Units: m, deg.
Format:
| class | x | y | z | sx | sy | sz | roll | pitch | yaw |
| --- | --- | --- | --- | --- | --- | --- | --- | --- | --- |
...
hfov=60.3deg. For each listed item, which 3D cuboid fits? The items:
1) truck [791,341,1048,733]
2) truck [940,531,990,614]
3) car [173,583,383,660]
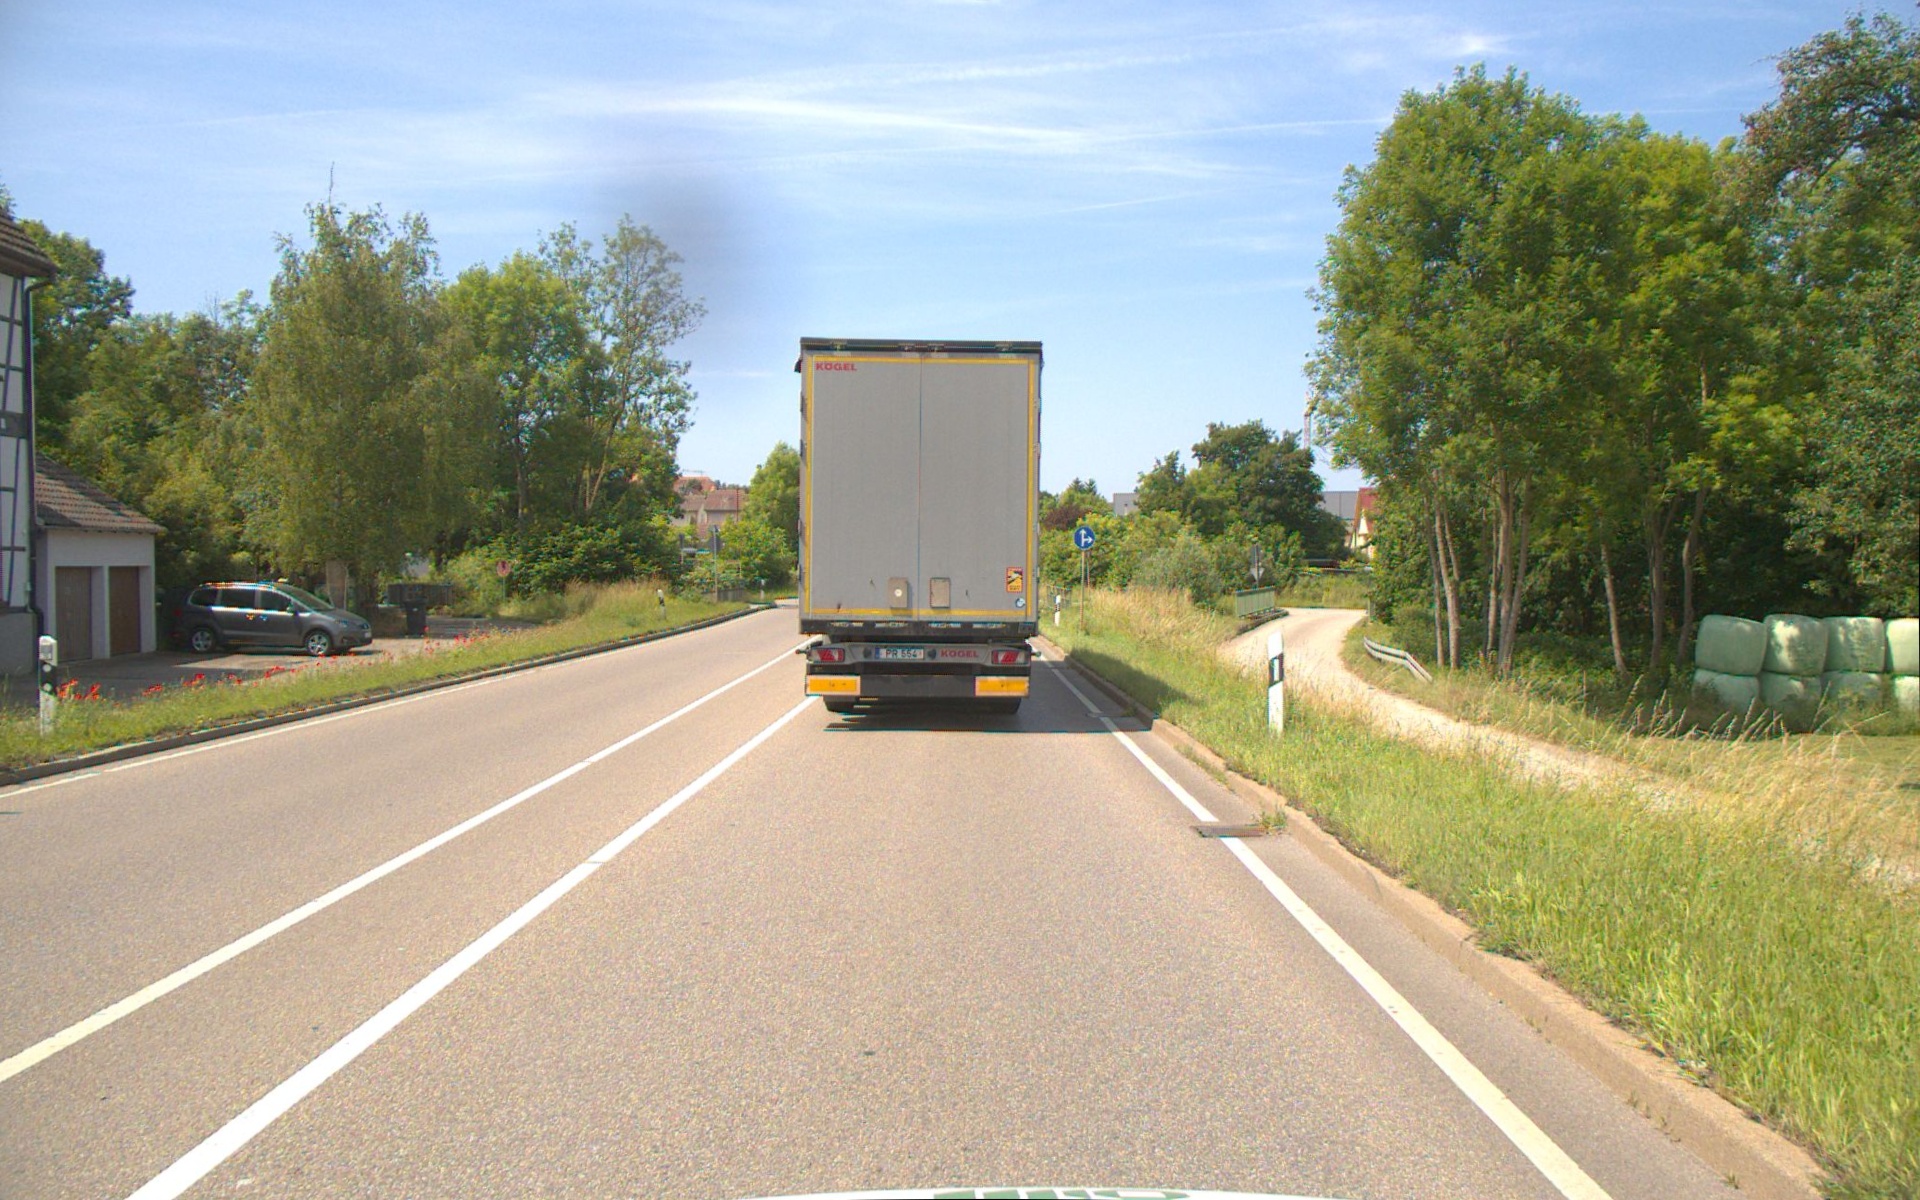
| class | x | y | z | sx | sy | sz | roll | pitch | yaw |
| --- | --- | --- | --- | --- | --- | --- | --- | --- | --- |
| truck | -0.498 | -0.677 | 21.349 | 2.594 | 3.985 | 8.823 | 1 | 0 | -1 |
| truck | 0.237 | -1.562 | 100.246 | 2.592 | 4.681 | 10.813 | 2 | 0 | -1 |
| car | -17.297 | 0.532 | 42.124 | 4.571 | 1.750 | 1.861 | 1 | 3 | -4 |
